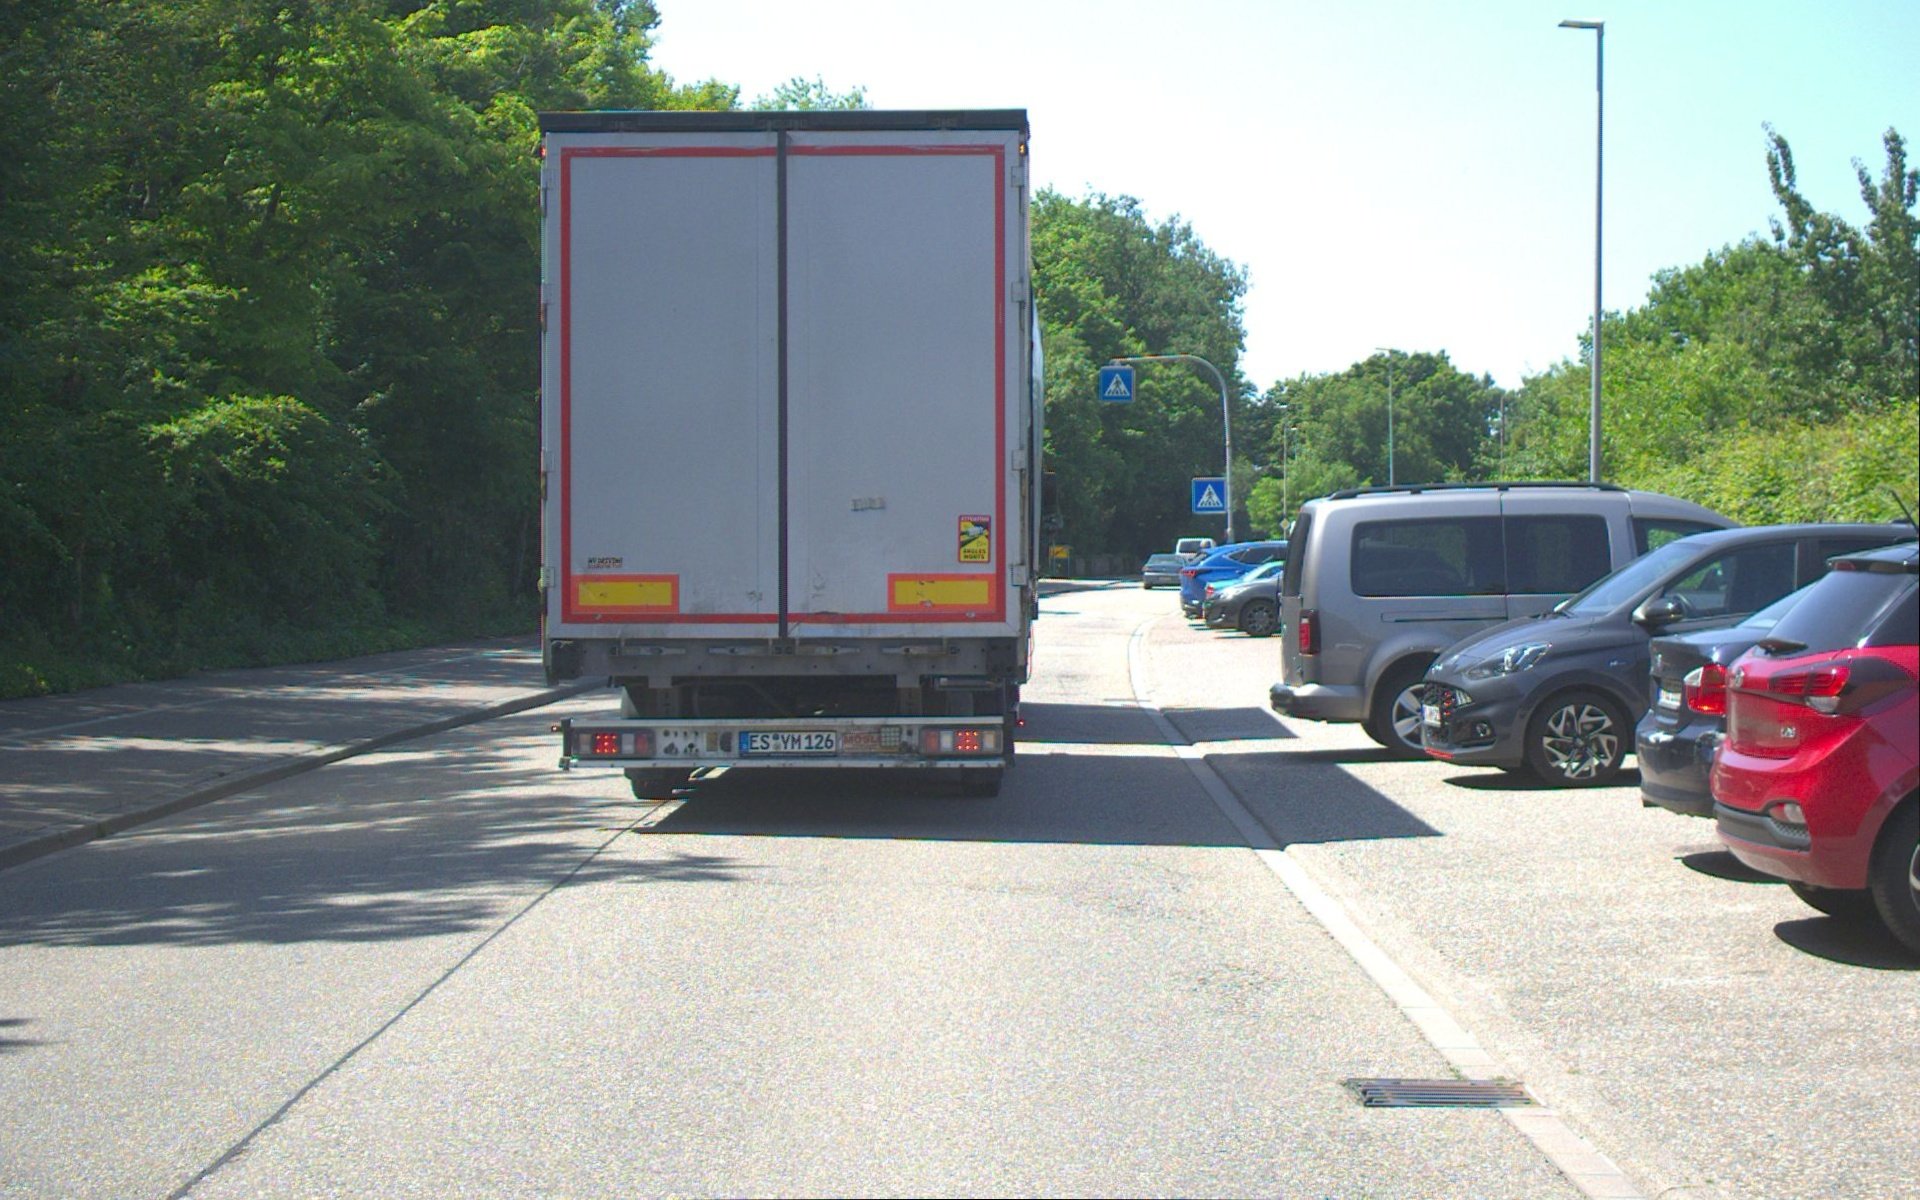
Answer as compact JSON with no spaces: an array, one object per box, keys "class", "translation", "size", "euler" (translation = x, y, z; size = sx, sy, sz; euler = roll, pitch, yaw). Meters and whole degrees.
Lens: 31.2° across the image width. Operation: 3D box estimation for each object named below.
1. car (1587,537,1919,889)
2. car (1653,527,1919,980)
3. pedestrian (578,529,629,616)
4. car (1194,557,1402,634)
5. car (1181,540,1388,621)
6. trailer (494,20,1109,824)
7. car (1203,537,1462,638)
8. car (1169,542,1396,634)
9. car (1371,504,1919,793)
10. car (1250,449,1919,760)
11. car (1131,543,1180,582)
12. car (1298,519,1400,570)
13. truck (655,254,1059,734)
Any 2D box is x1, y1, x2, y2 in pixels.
[{"class":"car","translation":[5.106,0.380,15.346],"size":[4.203,1.384,1.841],"euler":[-3,1,0]},{"class":"car","translation":[4.696,0.413,12.495],"size":[3.919,1.473,1.845],"euler":[-3,1,1]},{"class":"pedestrian","translation":[-6.815,-0.532,65.748],"size":[0.828,1.617,0.783],"euler":[2,1,2]},{"class":"car","translation":[6.239,-0.089,63.674],"size":[3.735,1.264,1.627],"euler":[-2,0,5]},{"class":"car","translation":[6.820,-0.395,72.660],"size":[4.236,1.648,1.899],"euler":[0,-1,2]},{"class":"trailer","translation":[-0.793,-0.995,23.380],"size":[3.112,4.088,11.537],"euler":[1,1,0]},{"class":"car","translation":[6.210,-0.209,57.683],"size":[4.164,1.490,1.882],"euler":[-2,0,3]},{"class":"car","translation":[6.218,-0.235,66.629],"size":[4.238,1.628,1.823],"euler":[-2,0,3]},{"class":"car","translation":[4.499,0.255,21.020],"size":[3.575,1.497,1.842],"euler":[-3,1,-4]},{"class":"car","translation":[4.463,0.004,24.189],"size":[4.621,1.842,1.996],"euler":[-3,1,2]},{"class":"car","translation":[7.609,-1.462,134.136],"size":[1.781,1.481,4.000],"euler":[1,1,2]},{"class":"car","translation":[15.522,-2.194,137.080],"size":[3.957,1.792,1.813],"euler":[-2,-2,7]},{"class":"truck","translation":[-0.769,-0.882,30.146],"size":[3.114,3.712,6.413],"euler":[1,1,1]}]
